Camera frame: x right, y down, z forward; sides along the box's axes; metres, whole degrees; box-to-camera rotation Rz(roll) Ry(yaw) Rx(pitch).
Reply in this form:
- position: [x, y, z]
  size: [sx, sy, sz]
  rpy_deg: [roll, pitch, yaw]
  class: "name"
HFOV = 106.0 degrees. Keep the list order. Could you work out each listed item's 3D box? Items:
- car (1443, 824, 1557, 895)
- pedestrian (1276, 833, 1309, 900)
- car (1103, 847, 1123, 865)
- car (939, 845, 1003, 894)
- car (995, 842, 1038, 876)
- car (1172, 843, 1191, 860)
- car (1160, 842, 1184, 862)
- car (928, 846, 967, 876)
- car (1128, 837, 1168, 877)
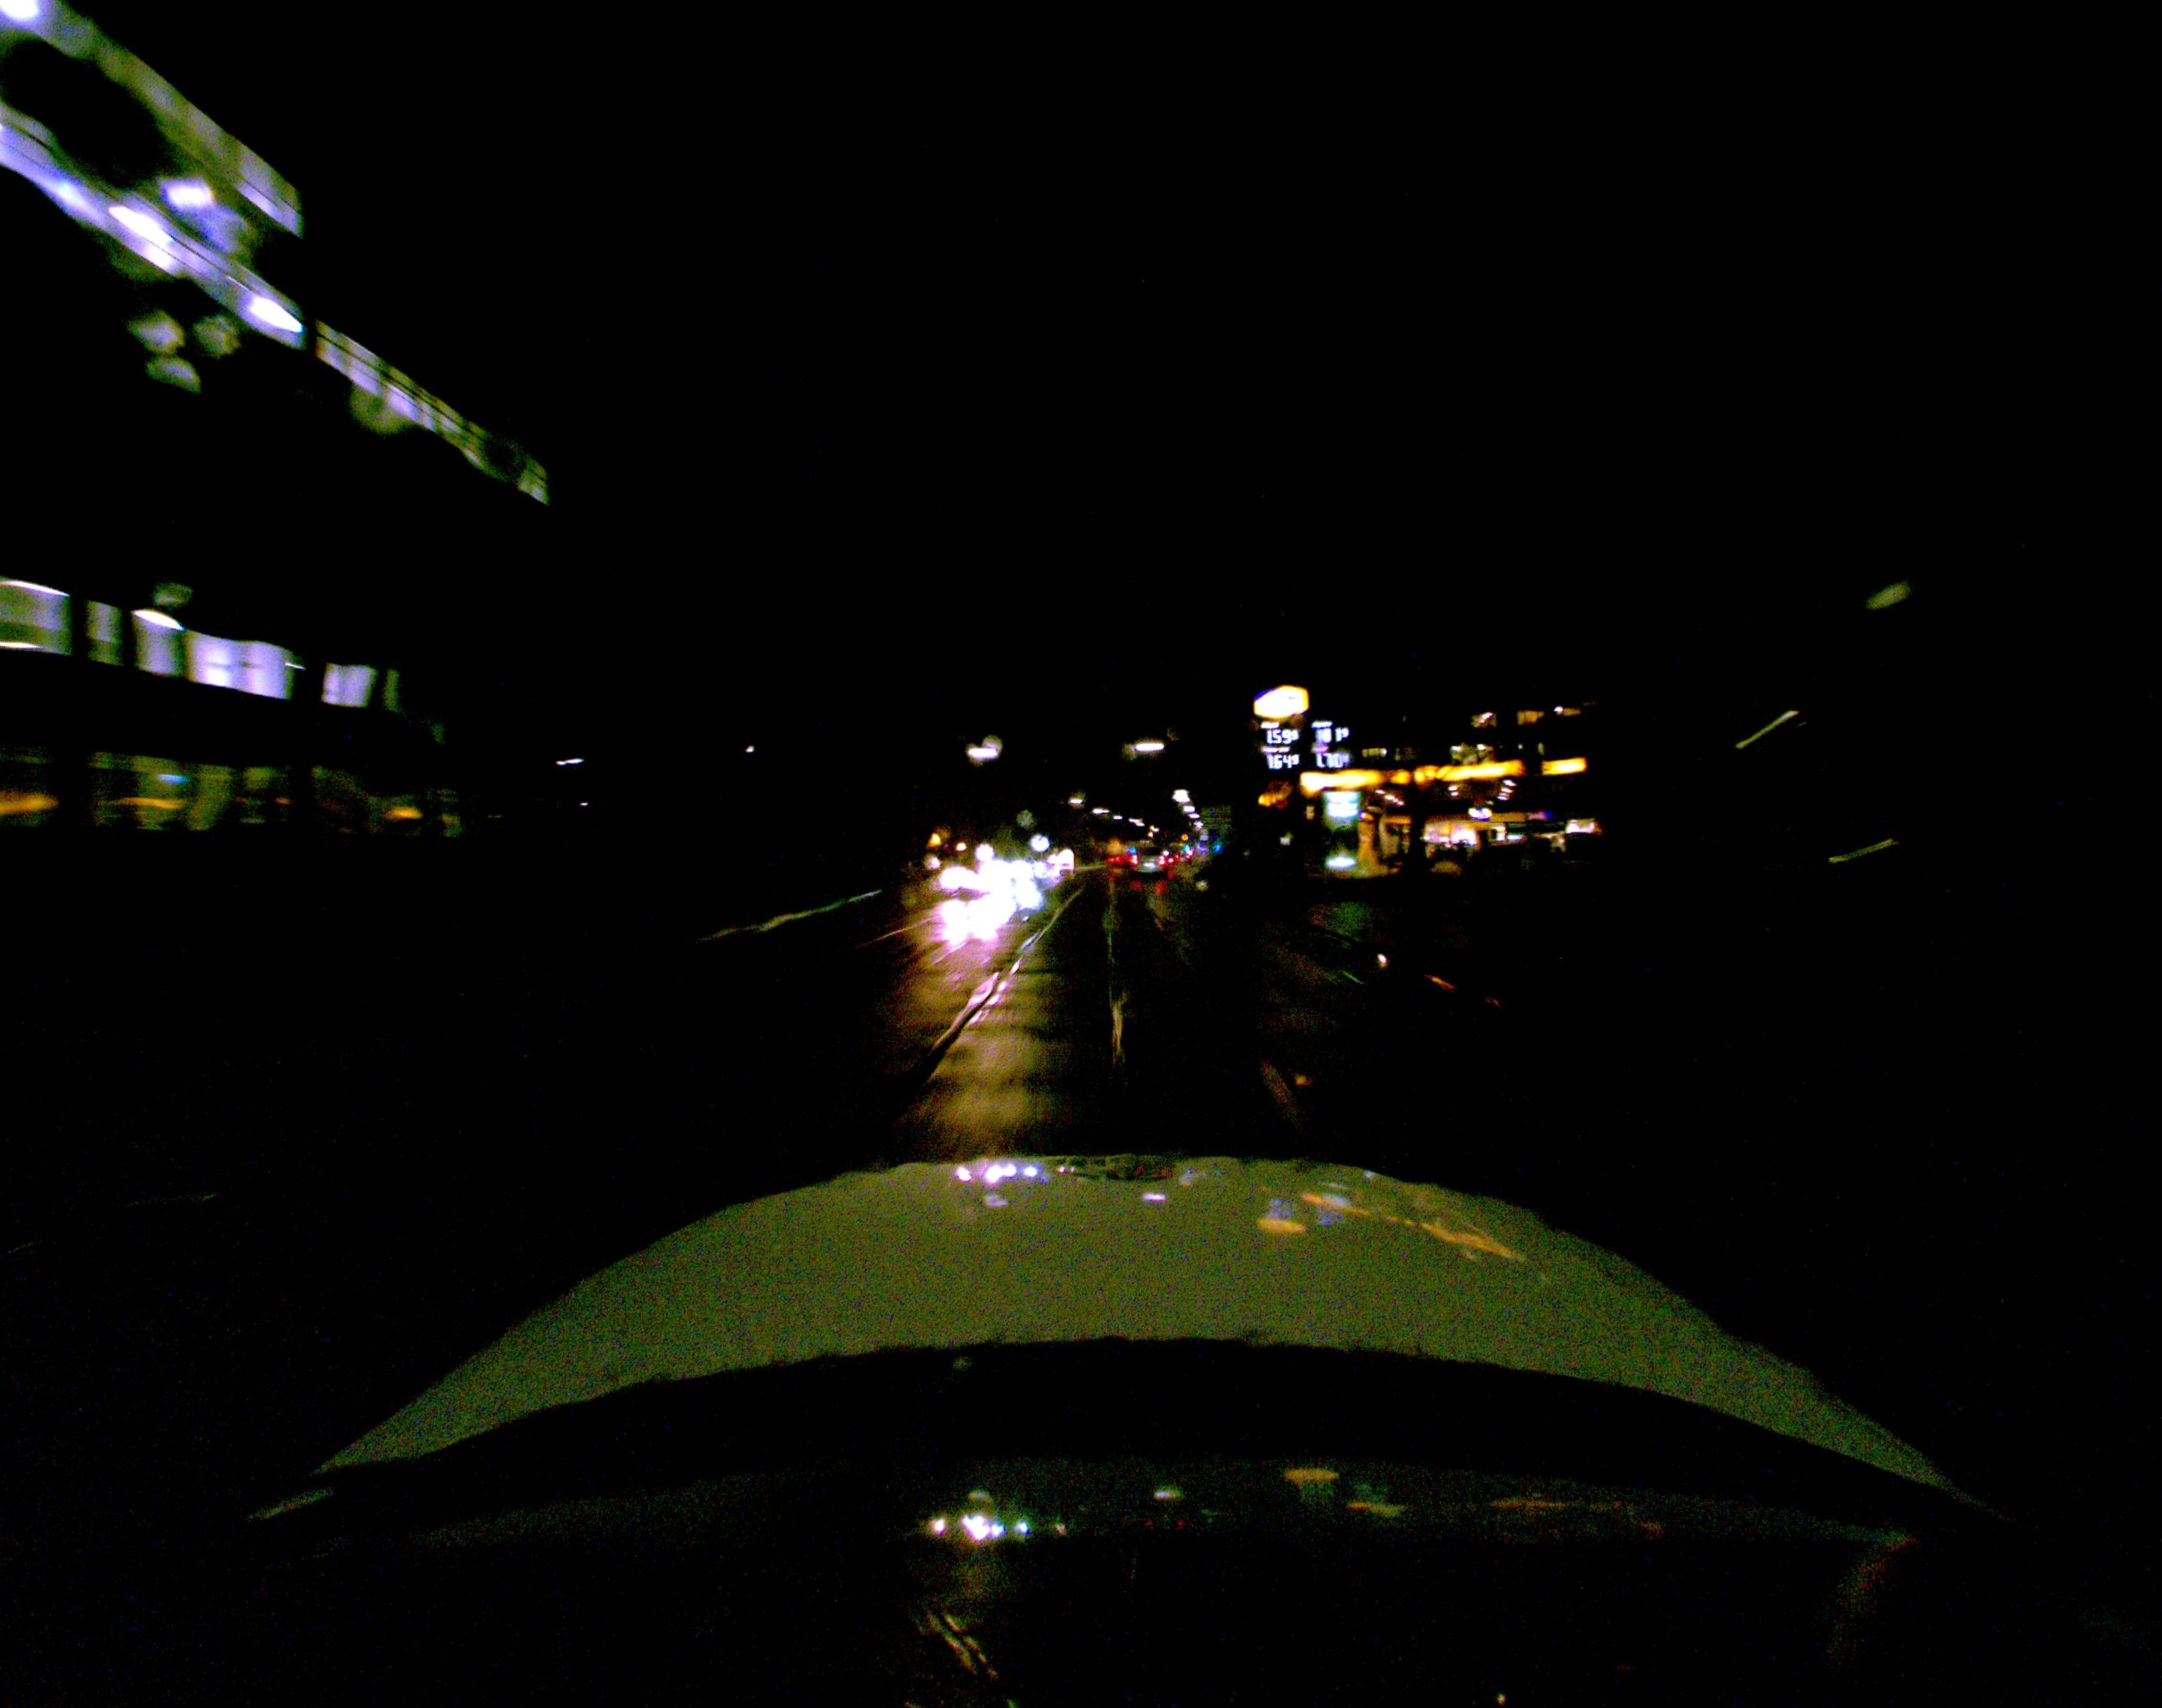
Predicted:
- position: [11.262, 0.103, 21.734]
  size: [2.004, 1.700, 4.148]
  rpy_deg: [-1, 0, 37]
  class: "car"
- position: [5.765, 0.329, 22.199]
  size: [0.771, 1.776, 0.697]
  rpy_deg: [-1, 0, 19]
  class: "pedestrian"
- position: [3.237, 0.195, 83.095]
  size: [1.986, 1.816, 4.001]
  rpy_deg: [-1, 0, 1]
  class: "car"
- position: [-4.210, 0.560, 31.768]
  size: [1.988, 1.724, 4.074]
  rpy_deg: [-1, 0, -1]
  class: "car"
- position: [-3.881, 0.266, 49.732]
  size: [2.313, 1.932, 4.961]
  rpy_deg: [-1, 0, -1]
  class: "car"
- position: [12.813, -0.310, 104.218]
  size: [1.986, 2.013, 4.001]
  rpy_deg: [-1, 0, 1]
  class: "car"
- position: [8.541, -0.210, 76.793]
  size: [2.007, 1.815, 4.005]
  rpy_deg: [-1, 0, 4]
  class: "car"
- position: [-9.650, 0.490, 59.145]
  size: [1.985, 2.013, 4.003]
  rpy_deg: [-1, 0, 3]
  class: "car"
- position: [4.180, 0.158, 51.519]
  size: [2.236, 2.361, 4.394]
  rpy_deg: [-1, 0, 1]
  class: "car"
